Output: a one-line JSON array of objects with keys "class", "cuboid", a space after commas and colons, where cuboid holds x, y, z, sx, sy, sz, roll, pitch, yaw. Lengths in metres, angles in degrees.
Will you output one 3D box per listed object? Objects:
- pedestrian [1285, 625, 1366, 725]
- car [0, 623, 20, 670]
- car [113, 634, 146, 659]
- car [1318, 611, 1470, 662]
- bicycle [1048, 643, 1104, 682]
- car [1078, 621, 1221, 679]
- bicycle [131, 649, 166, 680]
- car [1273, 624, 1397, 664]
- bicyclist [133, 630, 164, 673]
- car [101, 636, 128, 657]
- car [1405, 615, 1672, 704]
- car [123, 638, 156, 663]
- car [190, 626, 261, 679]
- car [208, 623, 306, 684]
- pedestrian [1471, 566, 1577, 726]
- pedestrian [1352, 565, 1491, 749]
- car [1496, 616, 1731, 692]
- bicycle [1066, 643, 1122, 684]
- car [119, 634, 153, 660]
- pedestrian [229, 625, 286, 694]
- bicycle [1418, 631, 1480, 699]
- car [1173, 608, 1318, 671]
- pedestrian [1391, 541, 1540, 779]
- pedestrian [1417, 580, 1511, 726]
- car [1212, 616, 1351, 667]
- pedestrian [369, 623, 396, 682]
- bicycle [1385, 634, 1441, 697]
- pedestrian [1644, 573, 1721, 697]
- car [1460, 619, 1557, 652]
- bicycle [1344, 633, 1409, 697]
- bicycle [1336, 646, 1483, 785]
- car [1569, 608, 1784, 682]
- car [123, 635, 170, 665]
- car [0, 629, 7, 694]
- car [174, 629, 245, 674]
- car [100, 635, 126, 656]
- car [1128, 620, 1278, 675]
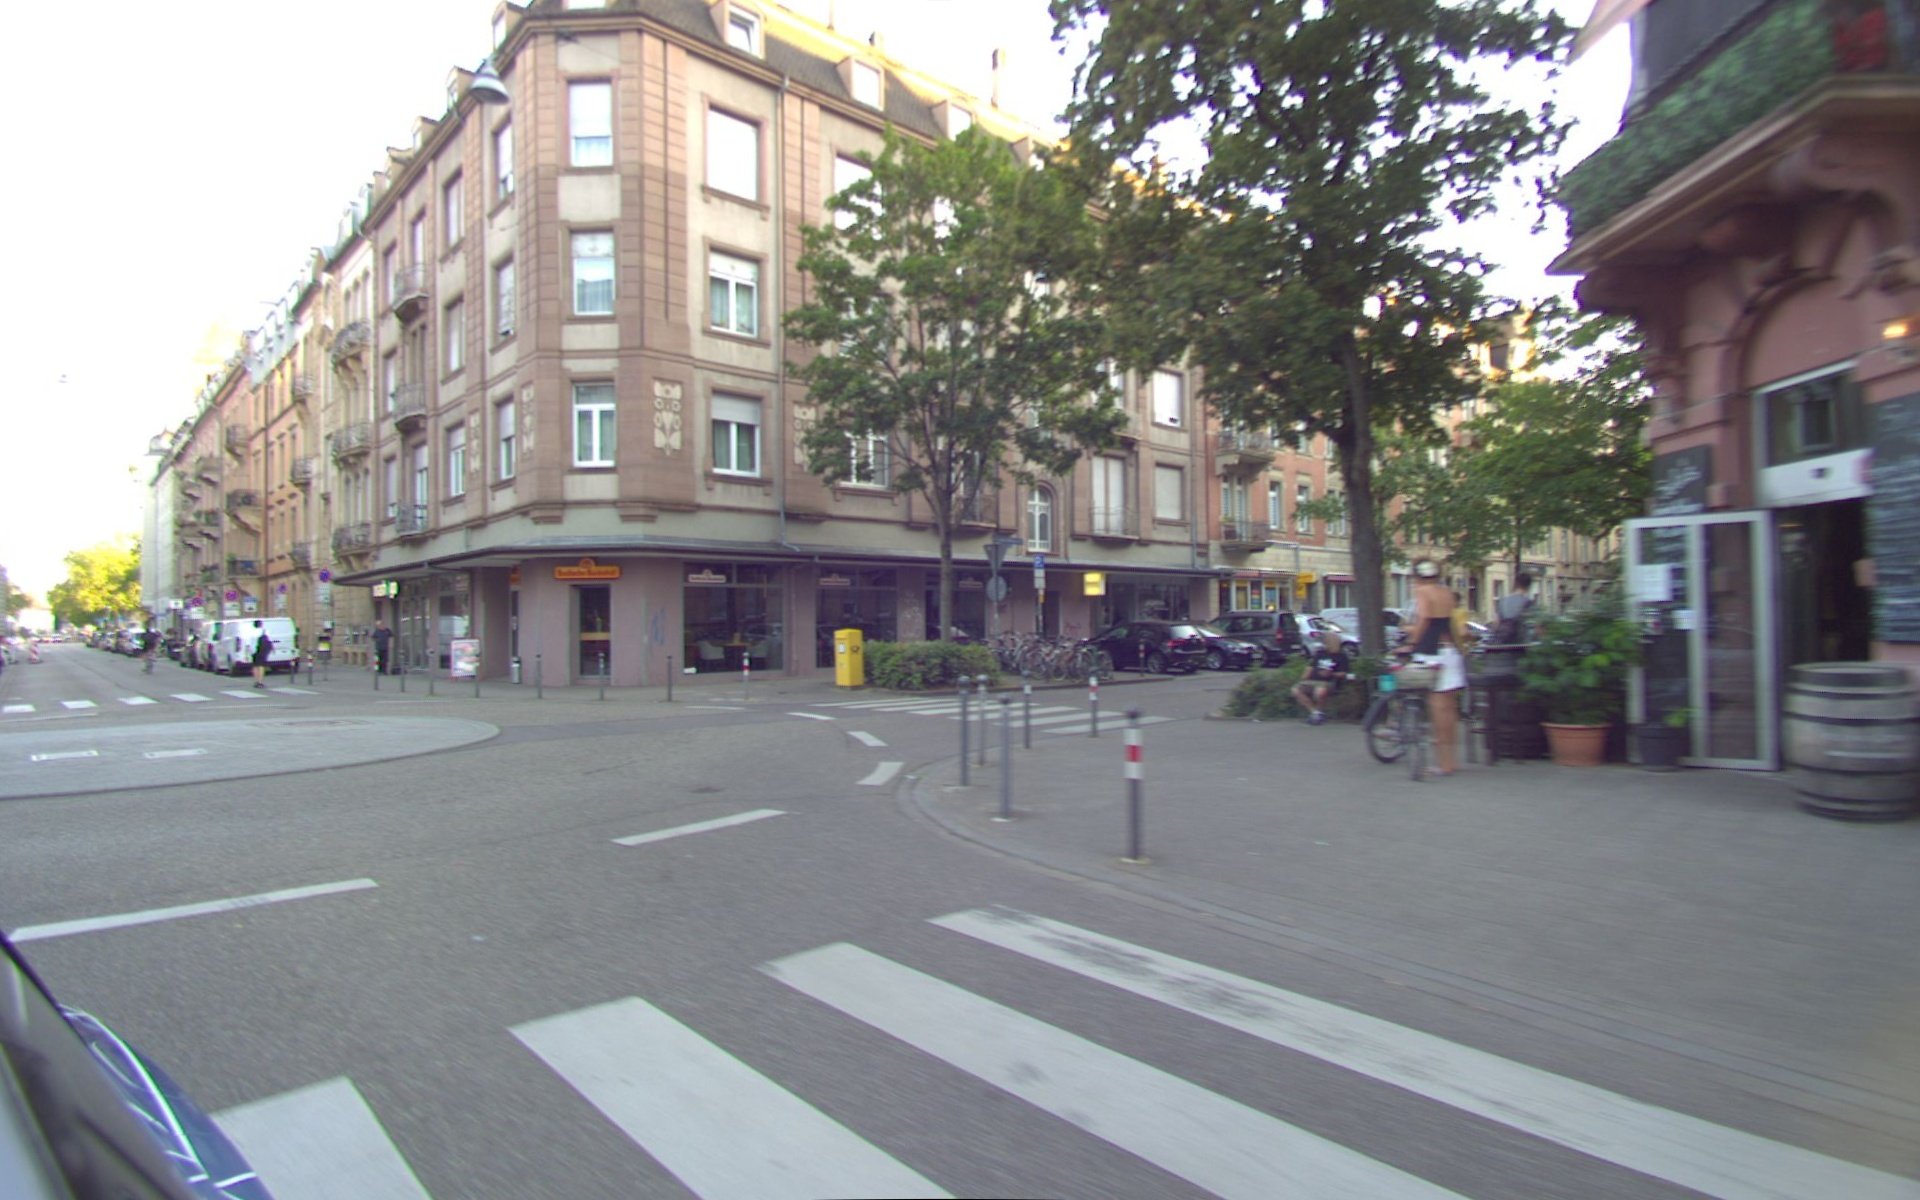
[{"class": "pedestrian", "cuboid": [5.043, 1.030, 13.968, 0.735, 1.315, 0.781, -6, -5, 43]}, {"class": "car", "cuboid": [-46.622, 2.197, 46.105, 2.323, 2.211, 5.109, -1, 0, 22]}, {"class": "car", "cuboid": [-65.649, 3.653, 80.002, 1.968, 1.752, 4.007, 0, 0, -39]}, {"class": "car", "cuboid": [16.925, 1.389, 39.699, 2.084, 1.844, 5.117, 2, -2, -39]}, {"class": "bicycle", "cuboid": [2.903, 1.547, 25.208, 1.466, 0.902, 0.478, 0, 0, -39]}, {"class": "car", "cuboid": [5.282, 1.359, 28.451, 1.695, 1.488, 3.691, 2, -2, -43]}, {"class": "bicycle", "cuboid": [-31.504, 2.510, 39.299, 1.975, 1.139, 0.744, -3, -2, 42]}, {"class": "car", "cuboid": [13.294, 1.528, 36.034, 1.694, 1.322, 3.816, 2, -2, -43]}, {"class": "bicyclist", "cuboid": [-31.521, 1.997, 39.314, 1.201, 1.653, 0.744, -3, -3, 41]}, {"class": "car", "cuboid": [-75.995, 4.168, 91.030, 1.840, 1.752, 3.806, 0, 0, -39]}, {"class": "car", "cuboid": [11.926, 1.139, 21.100, 1.861, 1.637, 4.478, 0, 0, -43]}, {"class": "car", "cuboid": [-59.445, 3.609, 73.318, 1.812, 1.654, 3.932, 0, 0, -39]}, {"class": "car", "cuboid": [-29.198, 2.041, 40.199, 1.852, 1.918, 4.331, 0, -1, -42]}, {"class": "car", "cuboid": [-24.983, 1.844, 35.912, 2.111, 1.973, 4.773, 0, -1, -44]}, {"class": "pedestrian", "cuboid": [6.836, 0.551, 12.270, 0.874, 1.842, 0.759, -1, -4, -41]}, {"class": "pedestrian", "cuboid": [4.838, 0.579, 10.625, 1.031, 1.825, 0.758, -1, -3, -30]}, {"class": "car", "cuboid": [15.735, 1.223, 24.540, 1.861, 1.637, 4.478, 0, 0, -43]}, {"class": "bicycle", "cuboid": [3.274, 1.542, 24.680, 1.466, 0.902, 0.478, 0, 0, -39]}, {"class": "car", "cuboid": [-62.185, 3.537, 76.354, 1.968, 1.752, 4.007, 0, 0, -39]}, {"class": "pedestrian", "cuboid": [-18.560, 1.554, 26.768, 0.738, 1.757, 1.214, -1, -1, -5]}, {"class": "bicycle", "cuboid": [9.429, 1.229, 19.476, 0.686, 1.212, 1.790, -4, -2, 37]}, {"class": "car", "cuboid": [8.993, 1.207, 32.088, 1.970, 1.852, 4.004, 2, -2, -43]}, {"class": "pedestrian", "cuboid": [4.252, 0.496, 8.597, 0.716, 1.869, 1.020, -3, -2, 7]}, {"class": "pedestrian", "cuboid": [6.496, 0.675, 13.043, 0.776, 1.805, 0.759, 0, -4, -45]}, {"class": "car", "cuboid": [10.594, 1.340, 33.531, 1.879, 1.586, 4.004, 2, -2, -43]}, {"class": "pedestrian", "cuboid": [-17.973, 1.615, 31.492, 0.644, 1.792, 0.694, -1, -2, -25]}, {"class": "bicycle", "cuboid": [8.883, 1.265, 19.821, 0.584, 1.166, 1.786, -4, -3, 37]}, {"class": "pedestrian", "cuboid": [10.509, 0.507, 14.711, 0.695, 1.738, 0.840, -6, -4, 43]}, {"class": "car", "cuboid": [26.621, 1.689, 49.197, 1.694, 1.519, 3.816, 2, -2, -43]}, {"class": "bicycle", "cuboid": [8.359, 1.279, 20.254, 0.705, 1.185, 1.928, -4, -3, 37]}, {"class": "bicycle", "cuboid": [3.828, 0.946, 8.770, 0.605, 1.033, 1.771, -3, -2, 7]}, {"class": "car", "cuboid": [19.352, 1.153, 27.484, 1.948, 1.814, 4.478, 0, 0, -43]}, {"class": "car", "cuboid": [-52.621, 3.218, 65.449, 2.110, 1.835, 4.545, 0, -1, -42]}, {"class": "car", "cuboid": [-32.999, 2.000, 31.047, 2.103, 2.113, 5.109, -1, 0, 22]}, {"class": "car", "cuboid": [-33.141, 2.243, 44.640, 2.110, 1.835, 4.546, 0, -1, -42]}, {"class": "car", "cuboid": [-79.775, 4.252, 95.334, 1.880, 1.752, 3.856, 0, 0, -39]}, {"class": "car", "cuboid": [7.174, 1.369, 30.155, 1.825, 1.522, 4.003, 2, -2, -44]}]
